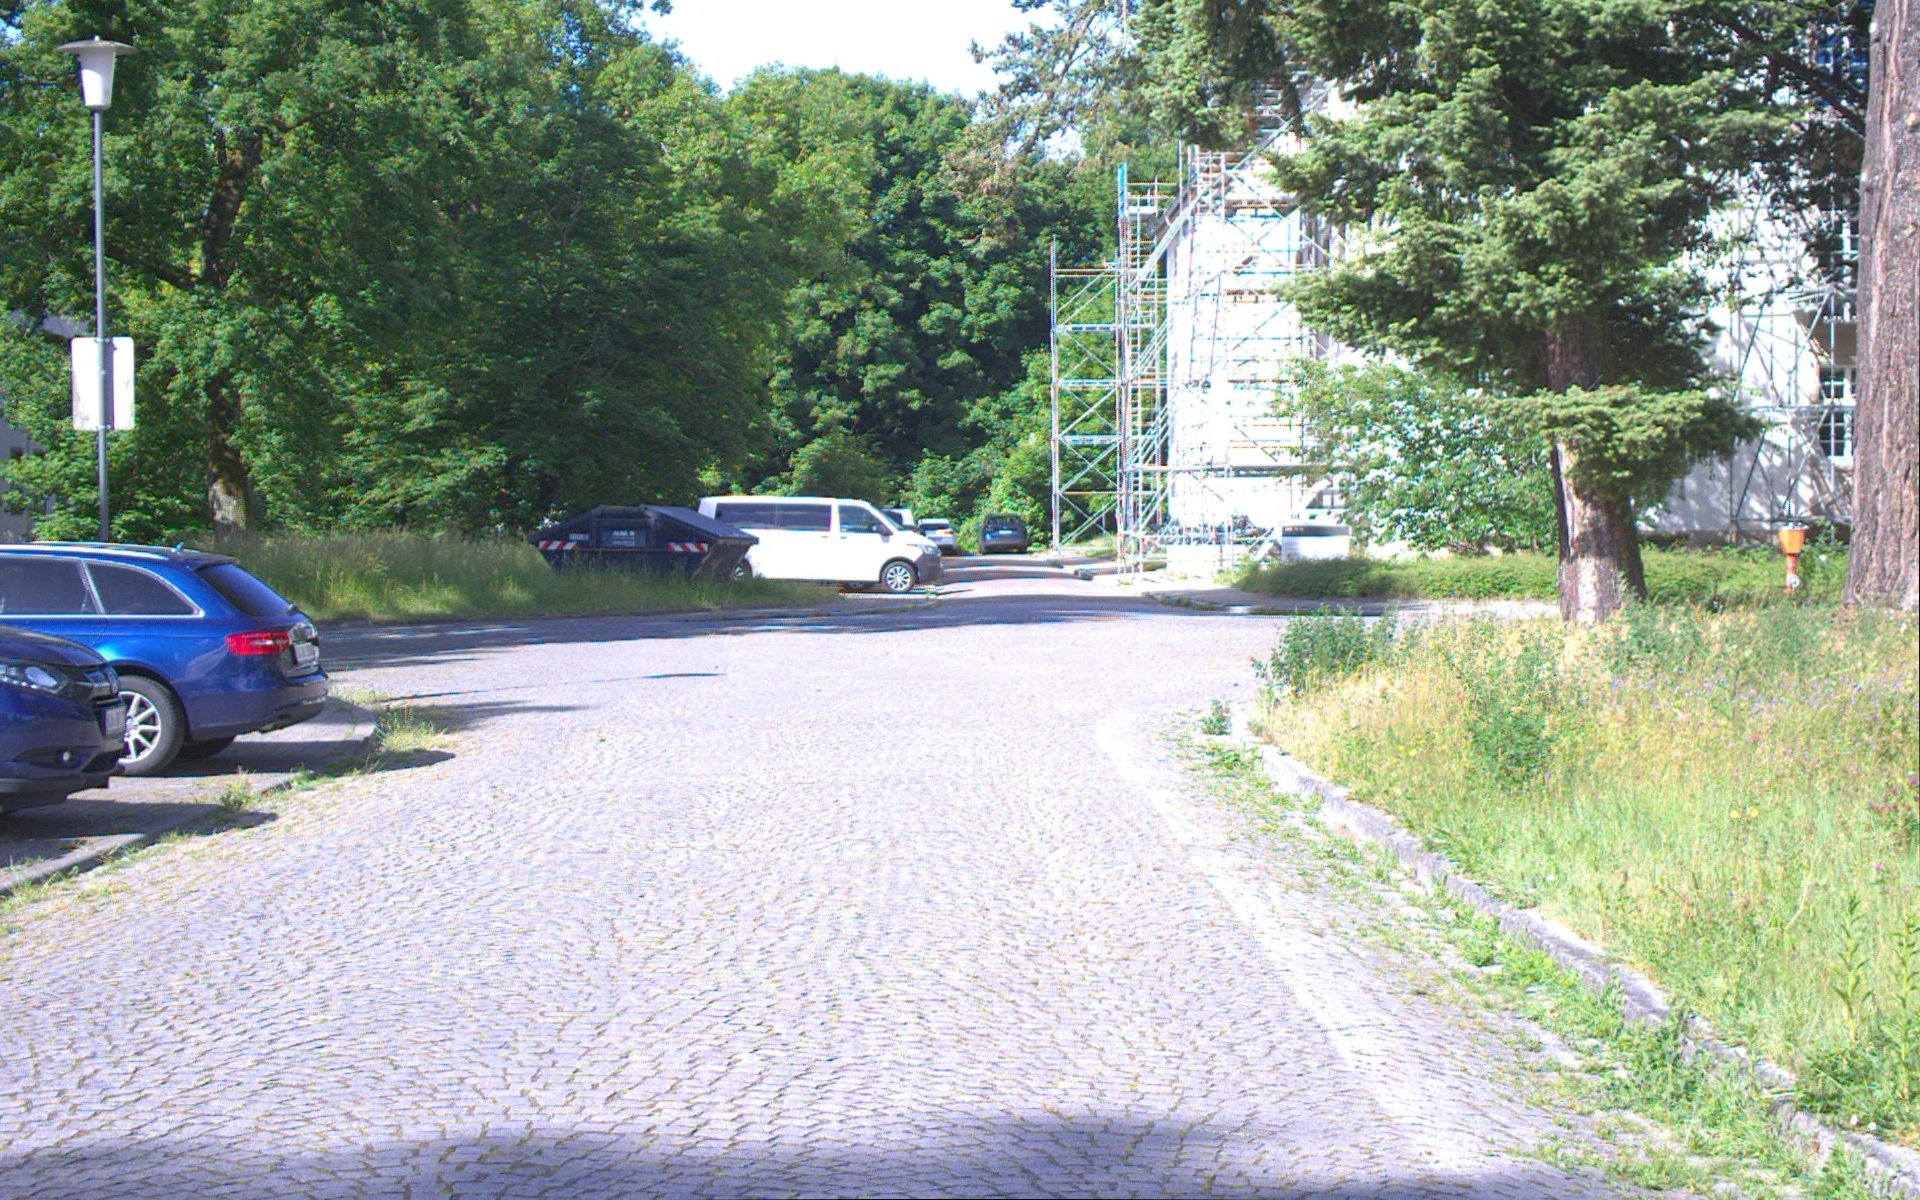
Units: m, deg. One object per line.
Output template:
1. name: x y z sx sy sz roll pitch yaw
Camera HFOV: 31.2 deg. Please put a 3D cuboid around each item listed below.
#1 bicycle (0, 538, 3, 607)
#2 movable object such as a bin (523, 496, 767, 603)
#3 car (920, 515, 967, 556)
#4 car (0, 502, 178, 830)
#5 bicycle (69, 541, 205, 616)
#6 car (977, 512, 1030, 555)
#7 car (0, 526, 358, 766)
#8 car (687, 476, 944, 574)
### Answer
1. bicycle: -16.459 -0.437 55.480 1.912 1.099 0.570 0 3 -19
2. movable object such as a bin: -5.300 -0.859 58.062 3.569 1.738 2.023 0 1 18
3. car: -0.673 -2.589 137.162 1.812 1.574 4.135 -1 1 -1
4. car: -6.284 0.283 17.605 4.135 1.574 1.884 0 2 0
5. bicycle: -12.506 -0.336 52.275 1.913 1.054 0.476 -3 2 -23
6. car: 1.729 -2.671 137.462 1.971 1.662 4.086 -1 1 -1
7. car: -6.272 0.256 22.289 4.360 1.440 1.921 0 2 3
8. car: -2.955 -1.552 71.150 5.234 2.009 1.950 0 1 -1
